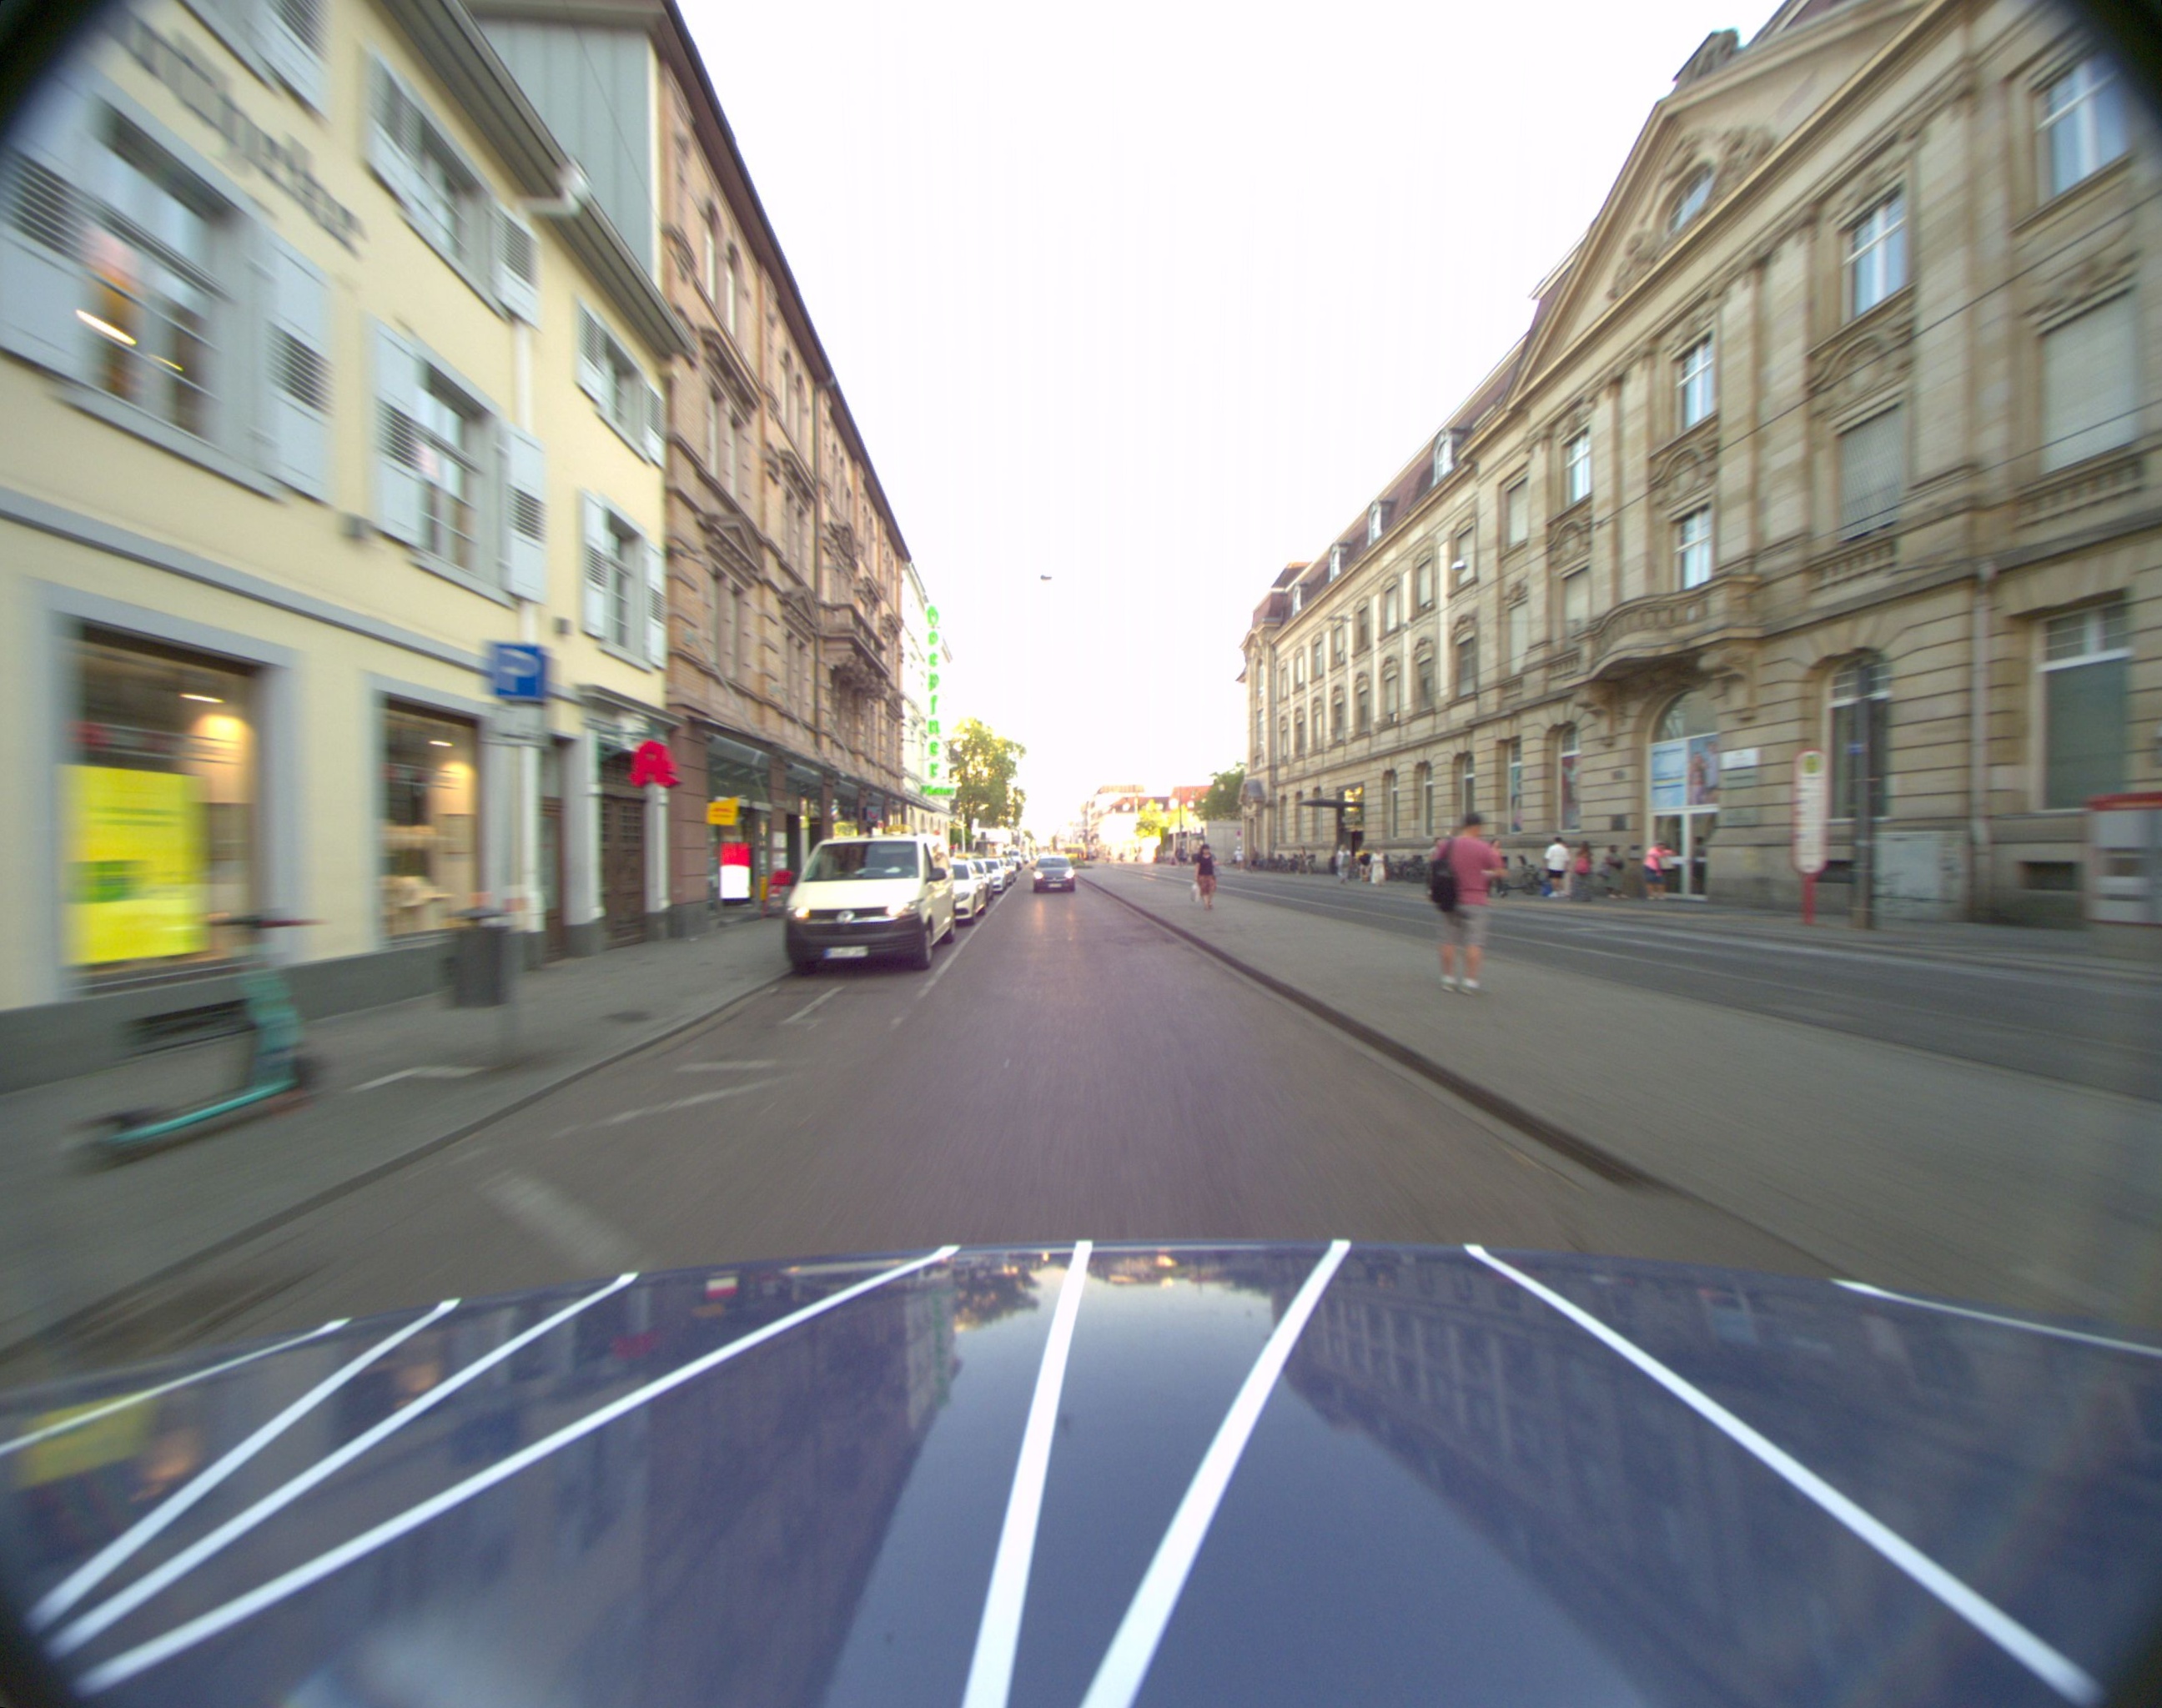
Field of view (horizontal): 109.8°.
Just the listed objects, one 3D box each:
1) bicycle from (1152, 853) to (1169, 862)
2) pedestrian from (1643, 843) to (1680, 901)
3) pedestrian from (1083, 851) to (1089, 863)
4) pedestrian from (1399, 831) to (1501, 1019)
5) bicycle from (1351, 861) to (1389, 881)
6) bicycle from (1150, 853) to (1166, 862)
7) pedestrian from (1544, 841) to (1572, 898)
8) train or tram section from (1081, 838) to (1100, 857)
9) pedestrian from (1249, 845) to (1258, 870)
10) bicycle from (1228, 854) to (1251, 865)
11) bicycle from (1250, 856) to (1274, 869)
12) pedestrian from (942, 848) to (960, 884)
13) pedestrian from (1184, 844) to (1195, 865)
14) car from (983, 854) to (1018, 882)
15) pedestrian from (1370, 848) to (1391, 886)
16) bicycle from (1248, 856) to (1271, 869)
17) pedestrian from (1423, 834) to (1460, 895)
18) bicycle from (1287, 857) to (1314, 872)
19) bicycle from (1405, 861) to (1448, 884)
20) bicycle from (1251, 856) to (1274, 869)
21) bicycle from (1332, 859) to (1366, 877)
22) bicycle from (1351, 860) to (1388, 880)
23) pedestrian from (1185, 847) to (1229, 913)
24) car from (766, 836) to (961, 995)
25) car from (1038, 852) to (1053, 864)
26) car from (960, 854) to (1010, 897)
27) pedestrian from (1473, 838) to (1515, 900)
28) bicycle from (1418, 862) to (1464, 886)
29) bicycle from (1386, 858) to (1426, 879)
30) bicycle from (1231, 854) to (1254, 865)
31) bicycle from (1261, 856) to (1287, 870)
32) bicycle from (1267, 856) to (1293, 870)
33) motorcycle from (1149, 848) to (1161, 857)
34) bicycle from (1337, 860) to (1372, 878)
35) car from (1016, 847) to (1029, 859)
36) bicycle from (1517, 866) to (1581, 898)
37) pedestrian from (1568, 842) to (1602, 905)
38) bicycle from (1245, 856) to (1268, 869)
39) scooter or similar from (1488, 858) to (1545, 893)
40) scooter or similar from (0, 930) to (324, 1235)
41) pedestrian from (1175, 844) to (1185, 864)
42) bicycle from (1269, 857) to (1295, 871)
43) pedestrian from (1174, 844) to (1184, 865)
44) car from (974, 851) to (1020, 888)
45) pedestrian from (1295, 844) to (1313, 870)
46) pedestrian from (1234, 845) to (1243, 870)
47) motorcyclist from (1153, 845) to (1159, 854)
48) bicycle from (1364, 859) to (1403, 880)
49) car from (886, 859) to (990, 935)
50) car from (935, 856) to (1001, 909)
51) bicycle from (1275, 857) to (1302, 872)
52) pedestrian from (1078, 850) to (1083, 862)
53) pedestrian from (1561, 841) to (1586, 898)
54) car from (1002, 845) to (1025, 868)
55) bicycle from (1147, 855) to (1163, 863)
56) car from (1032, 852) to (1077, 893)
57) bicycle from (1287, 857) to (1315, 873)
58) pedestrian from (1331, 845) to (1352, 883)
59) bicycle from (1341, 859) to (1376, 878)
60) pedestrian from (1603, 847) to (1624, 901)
[{"bbox_3d":[10.580,0.516,101.417,2.132,1.153,0.692,-1,1,-2],"label":"bicycle"},{"bbox_3d":[15.330,0.463,20.075,0.542,1.482,0.593,-3,2,-27],"label":"pedestrian"},{"bbox_3d":[0.662,0.386,104.415,0.638,1.616,0.518,-1,2,-14],"label":"pedestrian"},{"bbox_3d":[3.463,0.608,7.111,0.686,1.628,0.863,0,1,38],"label":"pedestrian"},{"bbox_3d":[13.476,0.793,35.481,1.579,0.869,0.451,-2,1,2],"label":"bicycle"},{"bbox_3d":[10.437,0.461,103.030,2.132,1.153,0.692,-1,1,-2],"label":"bicycle"},{"bbox_3d":[13.715,0.436,21.864,0.477,1.633,0.562,-2,2,6],"label":"pedestrian"},{"bbox_3d":[1.807,-1.195,154.643,2.903,3.664,13.476,-1,0,-3],"label":"train or tram section"},{"bbox_3d":[11.529,0.216,50.787,0.375,1.664,0.494,-1,2,30],"label":"pedestrian"},{"bbox_3d":[13.825,0.489,66.290,1.840,0.863,0.634,-2,1,-5],"label":"bicycle"},{"bbox_3d":[12.825,0.582,53.764,1.579,0.869,0.451,-2,1,2],"label":"bicycle"},{"bbox_3d":[-6.213,0.589,36.351,0.619,1.679,0.486,4,1,14],"label":"pedestrian"},{"bbox_3d":[9.161,0.048,64.137,0.677,1.726,0.679,0,1,-29],"label":"pedestrian"},{"bbox_3d":[-4.687,0.779,44.975,1.811,1.467,4.691,-2,1,-3],"label":"car"},{"bbox_3d":[11.606,0.499,29.426,0.693,1.458,0.557,-1,1,17],"label":"pedestrian"},{"bbox_3d":[13.037,0.627,55.629,1.579,0.869,0.451,-2,1,2],"label":"bicycle"},{"bbox_3d":[10.891,0.310,22.984,0.694,1.802,0.814,-1,1,-6],"label":"pedestrian"},{"bbox_3d":[13.745,0.659,47.550,1.579,0.869,0.451,-2,1,2],"label":"bicycle"},{"bbox_3d":[14.510,0.772,31.917,1.579,0.869,0.451,-2,1,2],"label":"bicycle"},{"bbox_3d":[13.059,0.642,54.709,1.579,0.869,0.451,-2,1,2],"label":"bicycle"},{"bbox_3d":[13.830,0.715,39.229,1.579,0.869,0.451,-2,1,2],"label":"bicycle"},{"bbox_3d":[13.781,0.770,36.260,1.579,0.869,0.451,-2,1,2],"label":"bicycle"},{"bbox_3d":[2.965,0.597,17.948,0.848,1.492,0.901,-1,1,-3],"label":"pedestrian"},{"bbox_3d":[-3.110,0.741,11.970,1.882,1.912,4.697,-3,1,-3],"label":"car"},{"bbox_3d":[-4.723,0.556,100.597,1.811,1.475,4.282,-3,0,-3],"label":"car"},{"bbox_3d":[-3.973,0.851,32.172,1.737,1.502,4.862,-3,1,-3],"label":"car"},{"bbox_3d":[11.726,0.415,21.593,0.694,1.702,0.814,-1,1,-7],"label":"pedestrian"},{"bbox_3d":[14.272,0.800,30.131,1.579,0.869,0.451,-2,1,2],"label":"bicycle"},{"bbox_3d":[14.381,0.655,33.634,1.579,0.869,0.451,-2,1,2],"label":"bicycle"},{"bbox_3d":[13.933,0.498,65.572,1.840,0.863,0.634,-2,1,-5],"label":"bicycle"},{"bbox_3d":[13.091,0.612,51.560,1.579,0.869,0.451,-2,1,2],"label":"bicycle"},{"bbox_3d":[13.310,0.597,50.789,1.579,0.869,0.451,-2,1,2],"label":"bicycle"},{"bbox_3d":[11.612,-0.224,119.261,1.777,1.230,0.807,-2,1,10],"label":"motorcycle"},{"bbox_3d":[13.897,0.751,38.586,1.579,0.869,0.451,-2,1,2],"label":"bicycle"},{"bbox_3d":[-8.802,-0.164,114.544,1.771,1.565,3.998,1,1,-3],"label":"car"},{"bbox_3d":[13.845,0.826,22.482,1.579,0.869,0.451,-2,1,2],"label":"bicycle"},{"bbox_3d":[13.191,0.503,19.889,0.441,1.596,0.571,-2,2,-10],"label":"pedestrian"},{"bbox_3d":[12.977,0.620,56.165,1.579,0.869,0.451,-2,1,2],"label":"bicycle"},{"bbox_3d":[14.036,0.700,24.482,1.551,1.062,0.451,-2,1,2],"label":"scooter or similar"},{"bbox_3d":[-4.856,1.098,4.070,0.272,1.227,1.307,1,1,0],"label":"scooter or similar"},{"bbox_3d":[8.311,0.001,63.798,0.679,1.726,0.483,1,1,17],"label":"pedestrian"},{"bbox_3d":[13.060,0.649,49.421,1.579,0.869,0.451,-2,1,2],"label":"bicycle"},{"bbox_3d":[8.330,0.033,64.650,0.650,1.726,0.594,1,1,-12],"label":"pedestrian"},{"bbox_3d":[-4.192,0.734,38.547,1.737,1.581,4.440,-3,1,0],"label":"car"},{"bbox_3d":[13.227,0.191,45.101,0.738,1.524,0.776,-1,1,-14],"label":"pedestrian"},{"bbox_3d":[10.586,0.239,51.113,0.375,1.622,0.494,-1,2,31],"label":"pedestrian"},{"bbox_3d":[11.790,-0.726,119.212,0.799,1.431,0.800,-2,1,9],"label":"motorcyclist"},{"bbox_3d":[13.816,0.708,34.757,1.579,0.869,0.451,-2,1,2],"label":"bicycle"},{"bbox_3d":[-3.315,0.924,18.491,1.811,1.475,4.776,-3,0,-3],"label":"car"},{"bbox_3d":[-3.732,0.889,25.785,1.731,1.468,4.818,-2,1,-3],"label":"car"},{"bbox_3d":[13.241,0.660,48.435,1.579,0.869,0.451,-2,1,2],"label":"bicycle"},{"bbox_3d":[-0.040,0.289,105.263,0.638,1.616,0.518,-1,2,-14],"label":"pedestrian"},{"bbox_3d":[14.191,0.437,21.880,0.335,1.633,0.606,-2,2,4],"label":"pedestrian"},{"bbox_3d":[-6.163,0.190,69.742,1.857,2.055,5.213,0,1,-3],"label":"car"},{"bbox_3d":[10.208,0.672,104.760,2.132,1.153,0.692,-1,1,-2],"label":"bicycle"},{"bbox_3d":[-1.151,0.709,31.876,1.739,1.495,3.998,-2,1,-3],"label":"car"},{"bbox_3d":[13.576,0.677,46.822,1.579,0.869,0.451,-2,1,2],"label":"bicycle"},{"bbox_3d":[10.673,0.407,31.101,0.659,1.553,0.681,0,1,34],"label":"pedestrian"},{"bbox_3d":[13.863,0.716,37.998,1.579,0.869,0.451,-2,1,2],"label":"bicycle"},{"bbox_3d":[14.440,0.524,20.594,0.439,1.432,0.573,-1,2,33],"label":"pedestrian"}]
